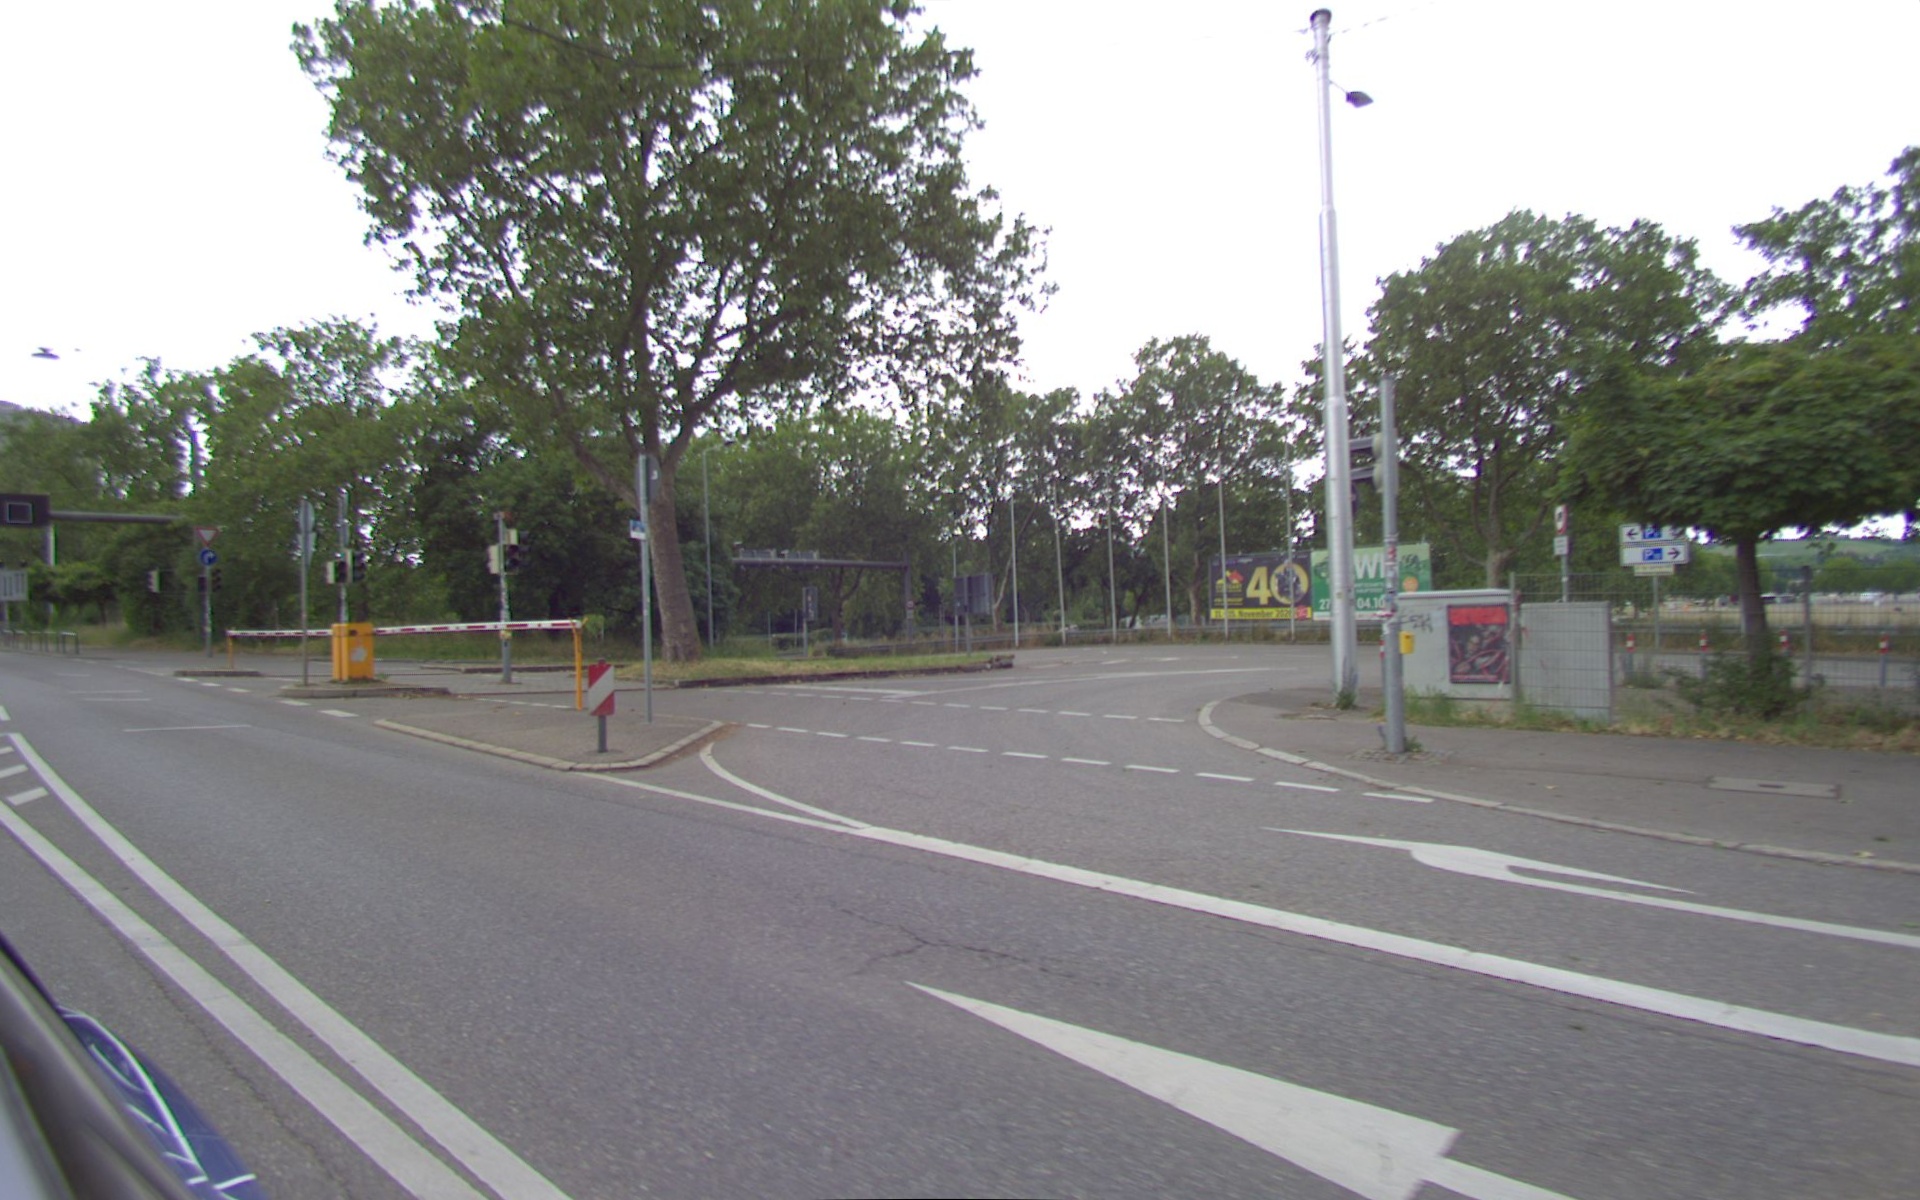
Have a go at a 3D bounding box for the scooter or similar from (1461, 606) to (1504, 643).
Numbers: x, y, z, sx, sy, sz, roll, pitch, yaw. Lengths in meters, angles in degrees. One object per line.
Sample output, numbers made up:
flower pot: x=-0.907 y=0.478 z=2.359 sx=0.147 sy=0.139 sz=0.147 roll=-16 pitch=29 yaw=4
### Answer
scooter or similar: x=17.912 y=0.847 z=34.687 sx=0.409 sy=1.230 sz=1.222 roll=-1 pitch=0 yaw=-38
